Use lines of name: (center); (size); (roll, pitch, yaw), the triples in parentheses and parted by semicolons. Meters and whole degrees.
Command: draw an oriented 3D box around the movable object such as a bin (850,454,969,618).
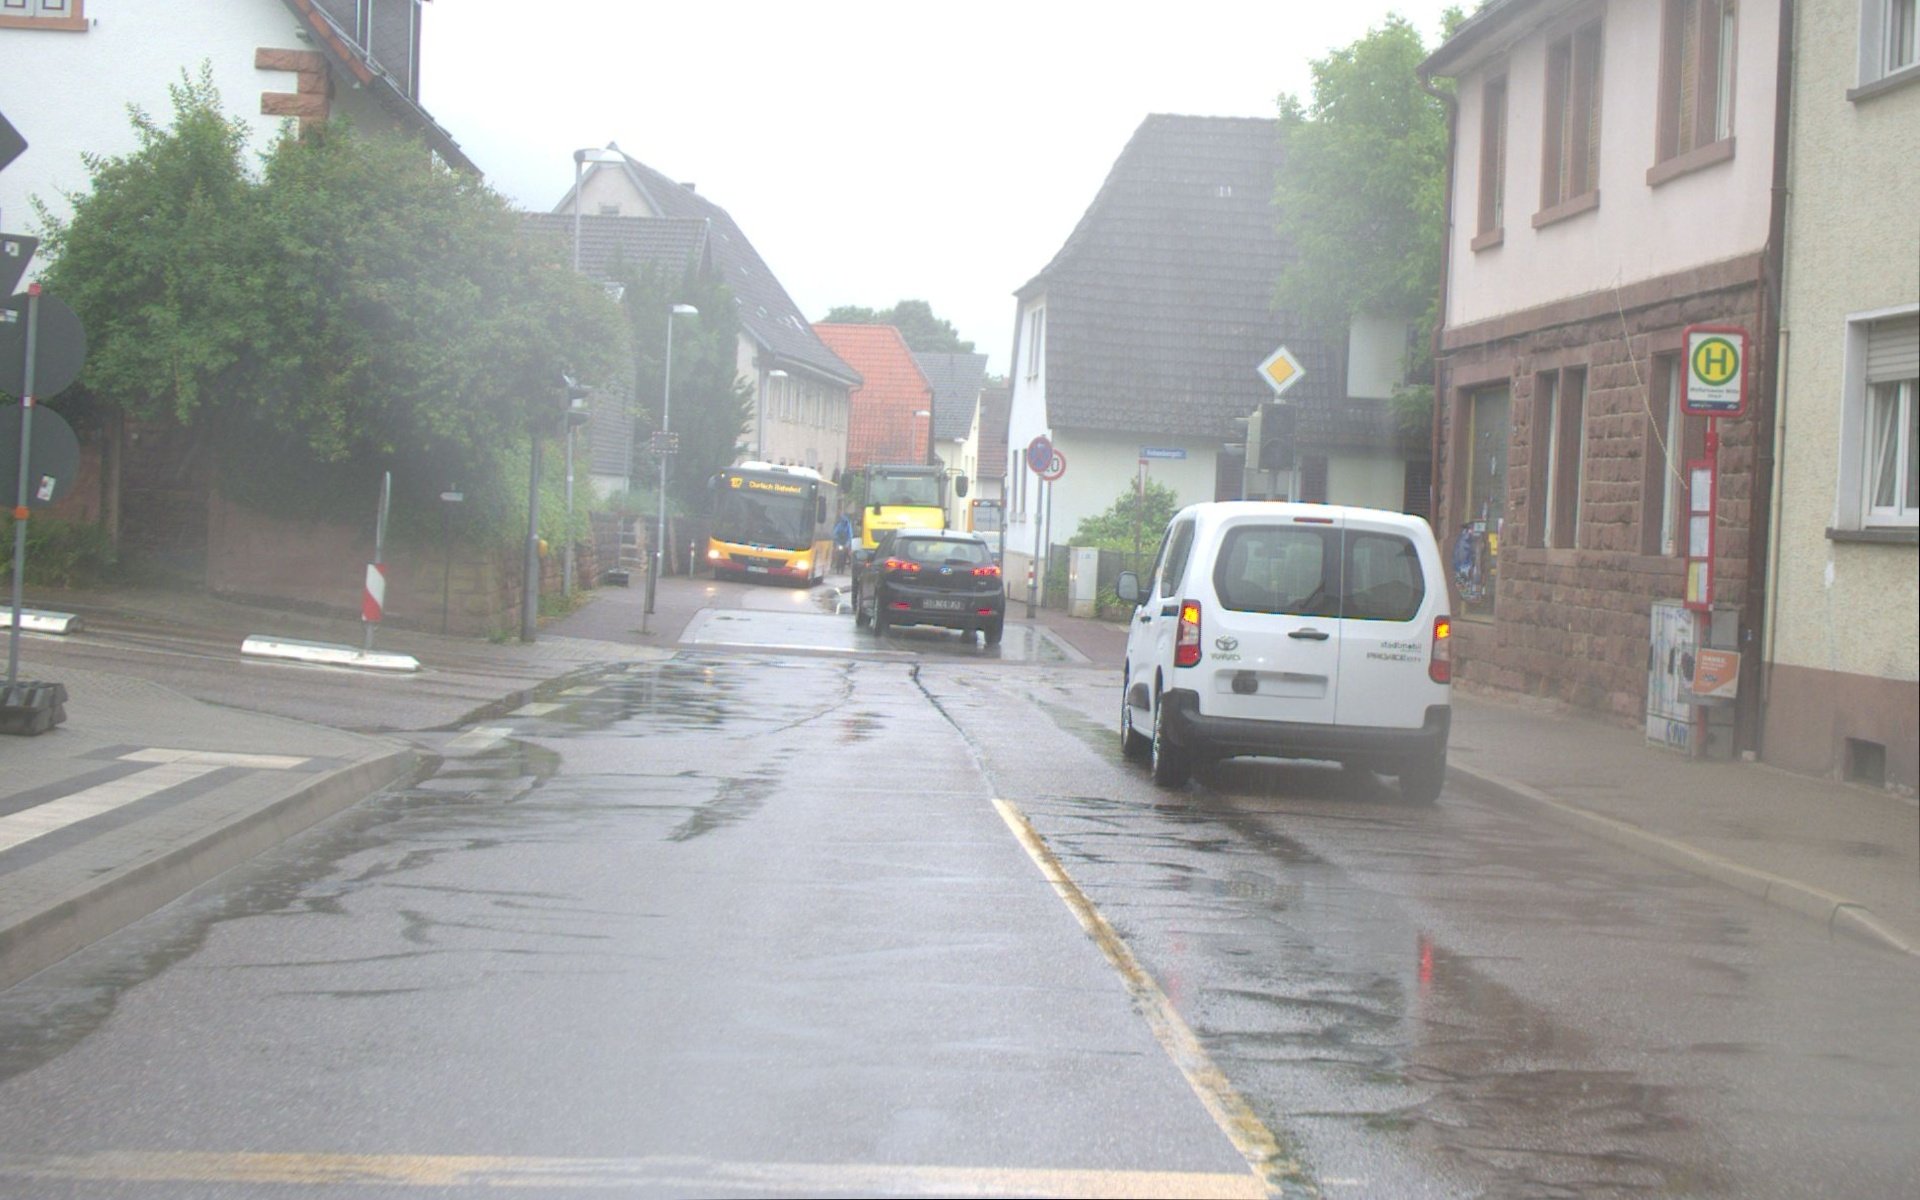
movable object such as a bin: (-0.908, -1.131, 59.895); (1.727, 2.644, 3.975); (4, 1, -3)

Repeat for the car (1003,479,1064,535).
car: (2.503, -3.114, 116.321); (1.851, 1.788, 4.000); (1, 1, 4)

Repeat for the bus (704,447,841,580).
bus: (-4.699, -2.335, 88.274); (2.649, 2.989, 12.194); (4, 3, 0)

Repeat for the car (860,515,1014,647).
car: (-0.354, -0.290, 46.772); (1.809, 1.591, 3.756); (4, 1, -3)

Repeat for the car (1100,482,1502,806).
car: (2.103, 0.210, 22.297); (1.894, 1.787, 3.814); (4, 1, -3)

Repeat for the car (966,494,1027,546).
car: (1.471, -3.183, 137.416); (1.994, 2.007, 3.999); (1, 1, 6)
